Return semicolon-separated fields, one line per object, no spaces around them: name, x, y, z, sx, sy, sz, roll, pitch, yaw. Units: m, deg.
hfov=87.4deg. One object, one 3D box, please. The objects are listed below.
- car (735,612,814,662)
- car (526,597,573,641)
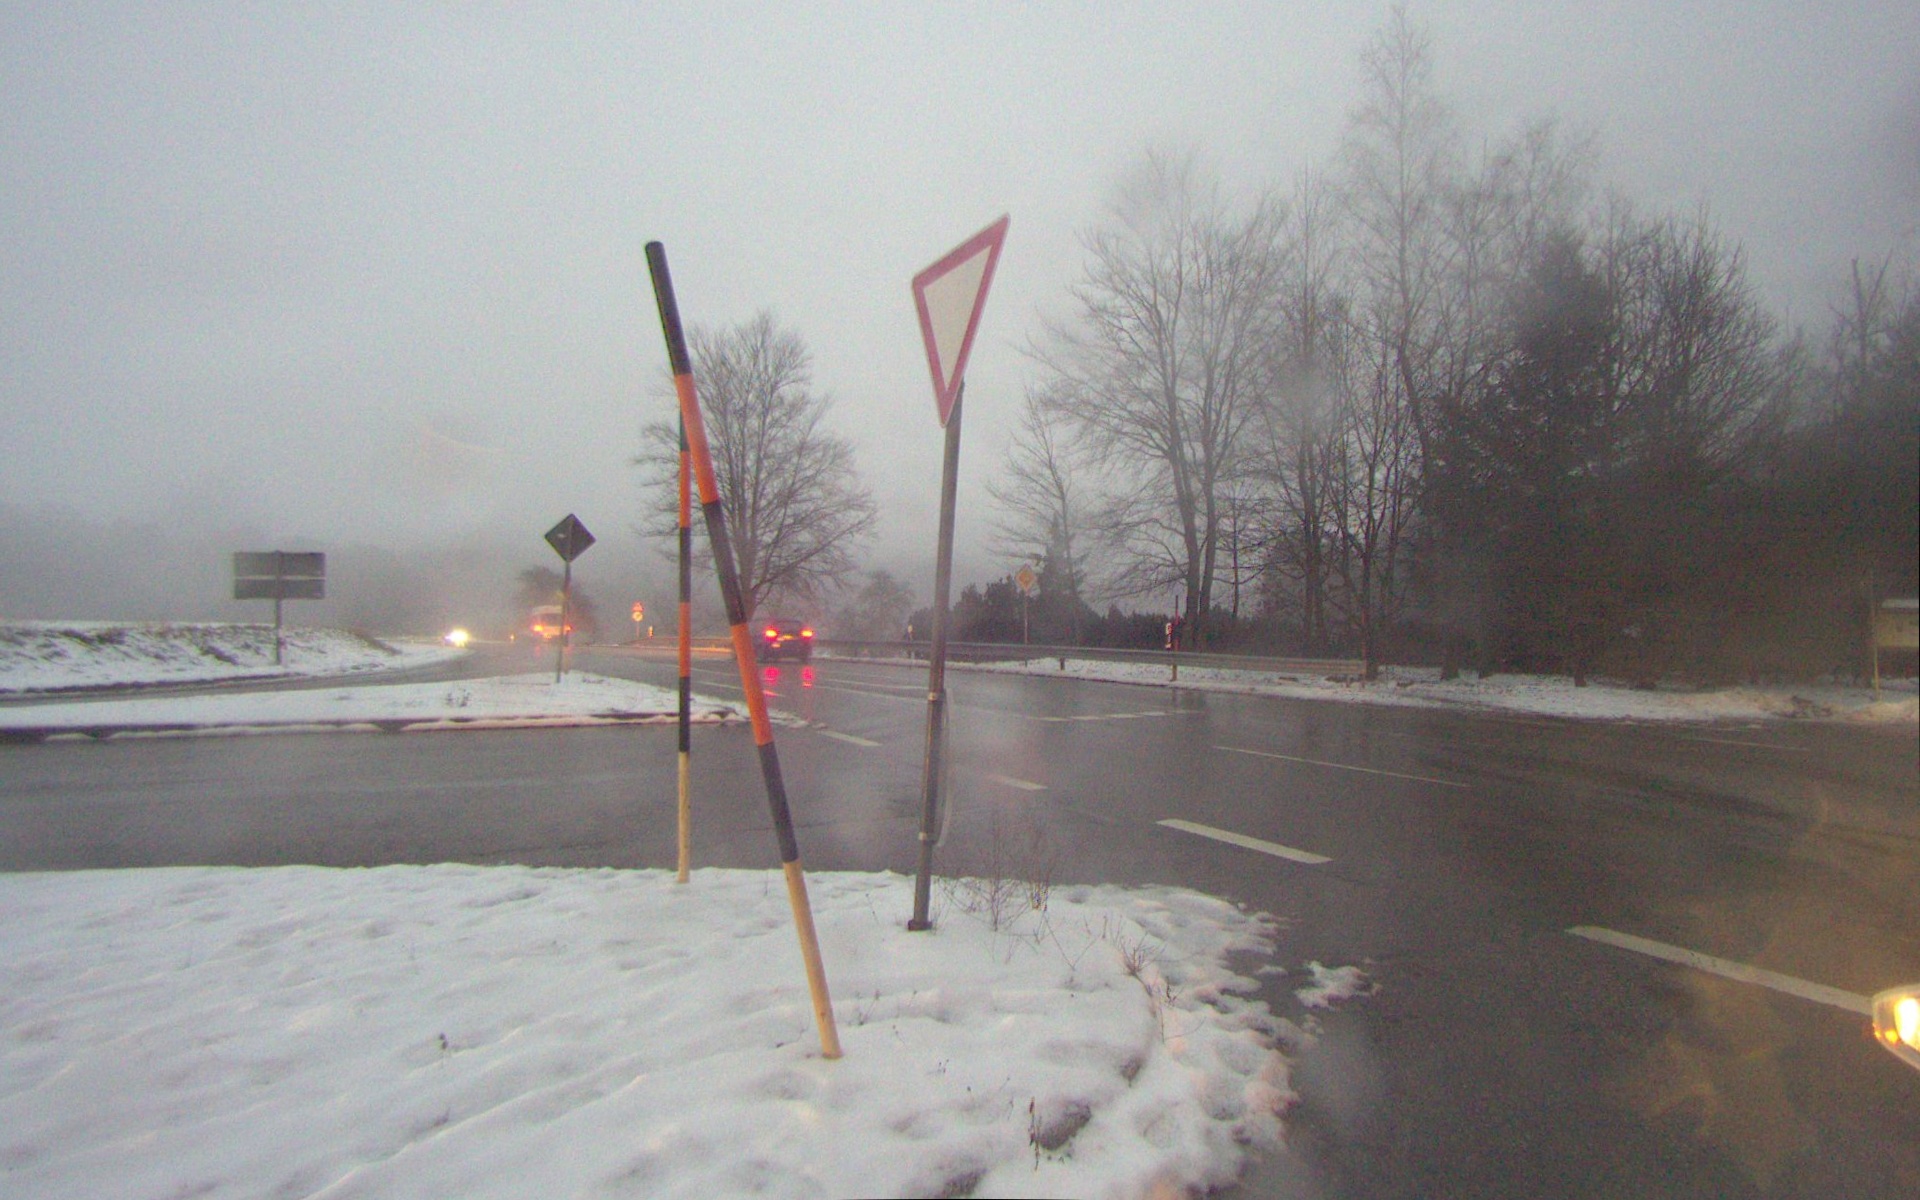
car;-6.368;1.239;34.218;1.675;1.572;3.831;2;-2;-25
car;-28.378;1.261;69.270;2.129;2.731;5.483;3;0;-31
